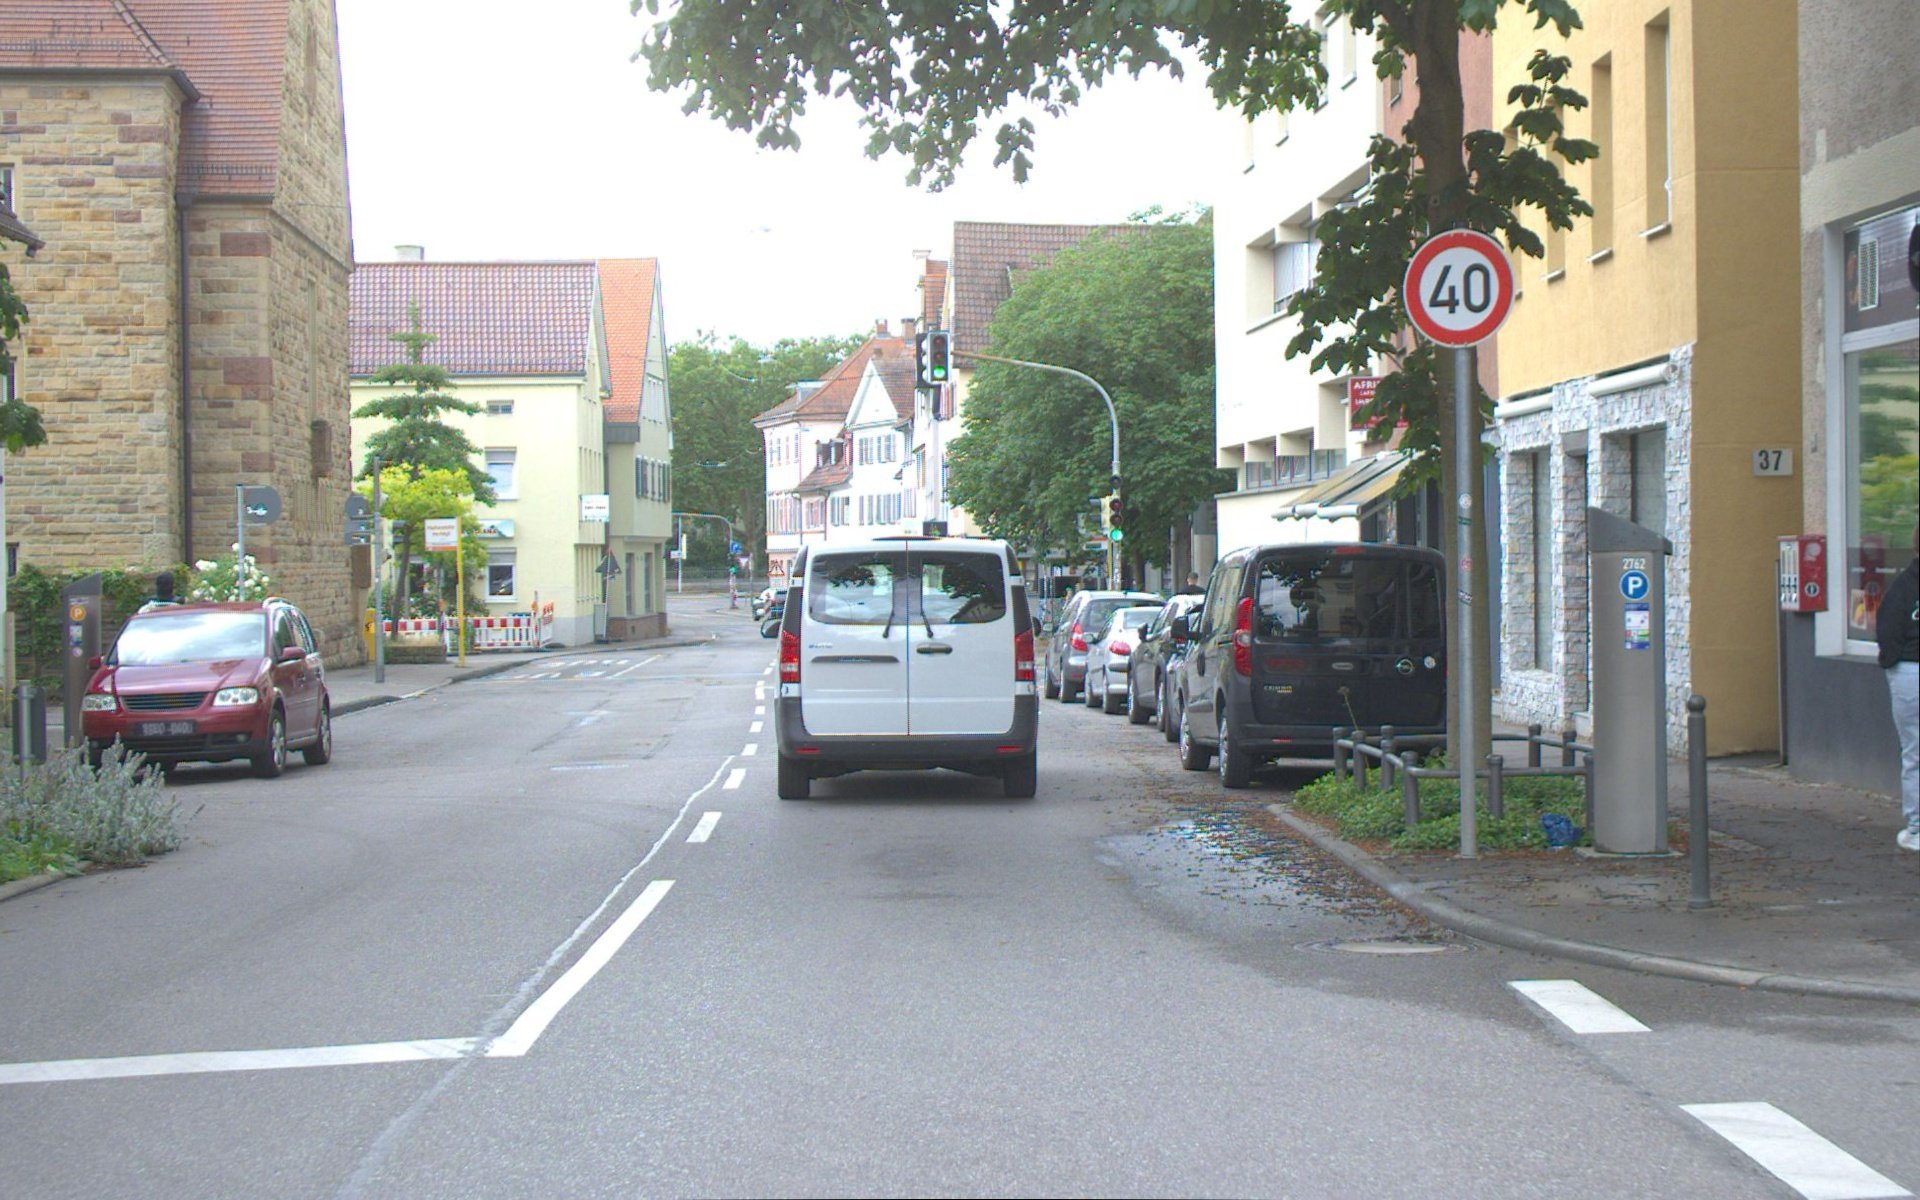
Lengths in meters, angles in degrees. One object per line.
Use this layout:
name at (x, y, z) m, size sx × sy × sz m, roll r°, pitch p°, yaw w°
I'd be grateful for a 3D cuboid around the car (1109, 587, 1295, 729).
car at (2.714, 0.626, 39.387) m, size 1.601 × 1.513 × 4.209 m, roll -1°, pitch 0°, yaw -3°

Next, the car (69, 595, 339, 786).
car at (-7.074, 0.794, 32.577) m, size 1.702 × 1.568 × 4.451 m, roll -2°, pitch 1°, yaw -2°

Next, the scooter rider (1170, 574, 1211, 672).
scooter rider at (3.881, 0.391, 57.828) m, size 0.452 × 1.626 × 0.505 m, roll -3°, pitch -1°, yaw -16°

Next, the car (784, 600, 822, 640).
car at (-8.171, 1.034, 178.574) m, size 1.934 × 2.007 × 4.000 m, roll 1°, pitch 0°, yaw -3°

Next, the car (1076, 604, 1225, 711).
car at (2.440, 0.718, 44.787) m, size 1.551 × 1.328 × 3.813 m, roll 0°, pitch 0°, yaw -3°

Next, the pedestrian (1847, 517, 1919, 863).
pedestrian at (4.815, 0.422, 16.888) m, size 0.614 × 1.647 × 0.983 m, roll -1°, pitch 0°, yaw -2°

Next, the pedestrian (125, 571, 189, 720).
pedestrian at (-10.086, 0.566, 43.185) m, size 0.571 × 1.842 × 0.697 m, roll 3°, pitch 0°, yaw -1°

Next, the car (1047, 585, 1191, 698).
car at (2.251, 0.577, 49.453) m, size 1.711 × 1.555 × 3.786 m, roll 0°, pitch 0°, yaw -3°

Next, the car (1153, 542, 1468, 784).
car at (2.703, 0.469, 27.477) m, size 1.819 × 1.775 × 4.403 m, roll 0°, pitch 0°, yaw -3°

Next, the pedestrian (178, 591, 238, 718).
pedestrian at (-9.285, 0.668, 42.450) m, size 0.571 × 1.549 × 0.697 m, roll 1°, pitch 0°, yaw -1°

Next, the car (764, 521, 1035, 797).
car at (-0.455, 0.425, 25.797) m, size 1.872 × 1.905 × 4.000 m, roll 0°, pitch 0°, yaw -1°

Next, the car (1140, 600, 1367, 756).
car at (2.820, 0.721, 33.927) m, size 1.751 × 1.401 × 4.511 m, roll -1°, pitch 0°, yaw -1°

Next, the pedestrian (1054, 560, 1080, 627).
pedestrian at (2.739, -0.160, 87.998) m, size 0.602 × 1.710 × 0.859 m, roll 0°, pitch 0°, yaw 5°
